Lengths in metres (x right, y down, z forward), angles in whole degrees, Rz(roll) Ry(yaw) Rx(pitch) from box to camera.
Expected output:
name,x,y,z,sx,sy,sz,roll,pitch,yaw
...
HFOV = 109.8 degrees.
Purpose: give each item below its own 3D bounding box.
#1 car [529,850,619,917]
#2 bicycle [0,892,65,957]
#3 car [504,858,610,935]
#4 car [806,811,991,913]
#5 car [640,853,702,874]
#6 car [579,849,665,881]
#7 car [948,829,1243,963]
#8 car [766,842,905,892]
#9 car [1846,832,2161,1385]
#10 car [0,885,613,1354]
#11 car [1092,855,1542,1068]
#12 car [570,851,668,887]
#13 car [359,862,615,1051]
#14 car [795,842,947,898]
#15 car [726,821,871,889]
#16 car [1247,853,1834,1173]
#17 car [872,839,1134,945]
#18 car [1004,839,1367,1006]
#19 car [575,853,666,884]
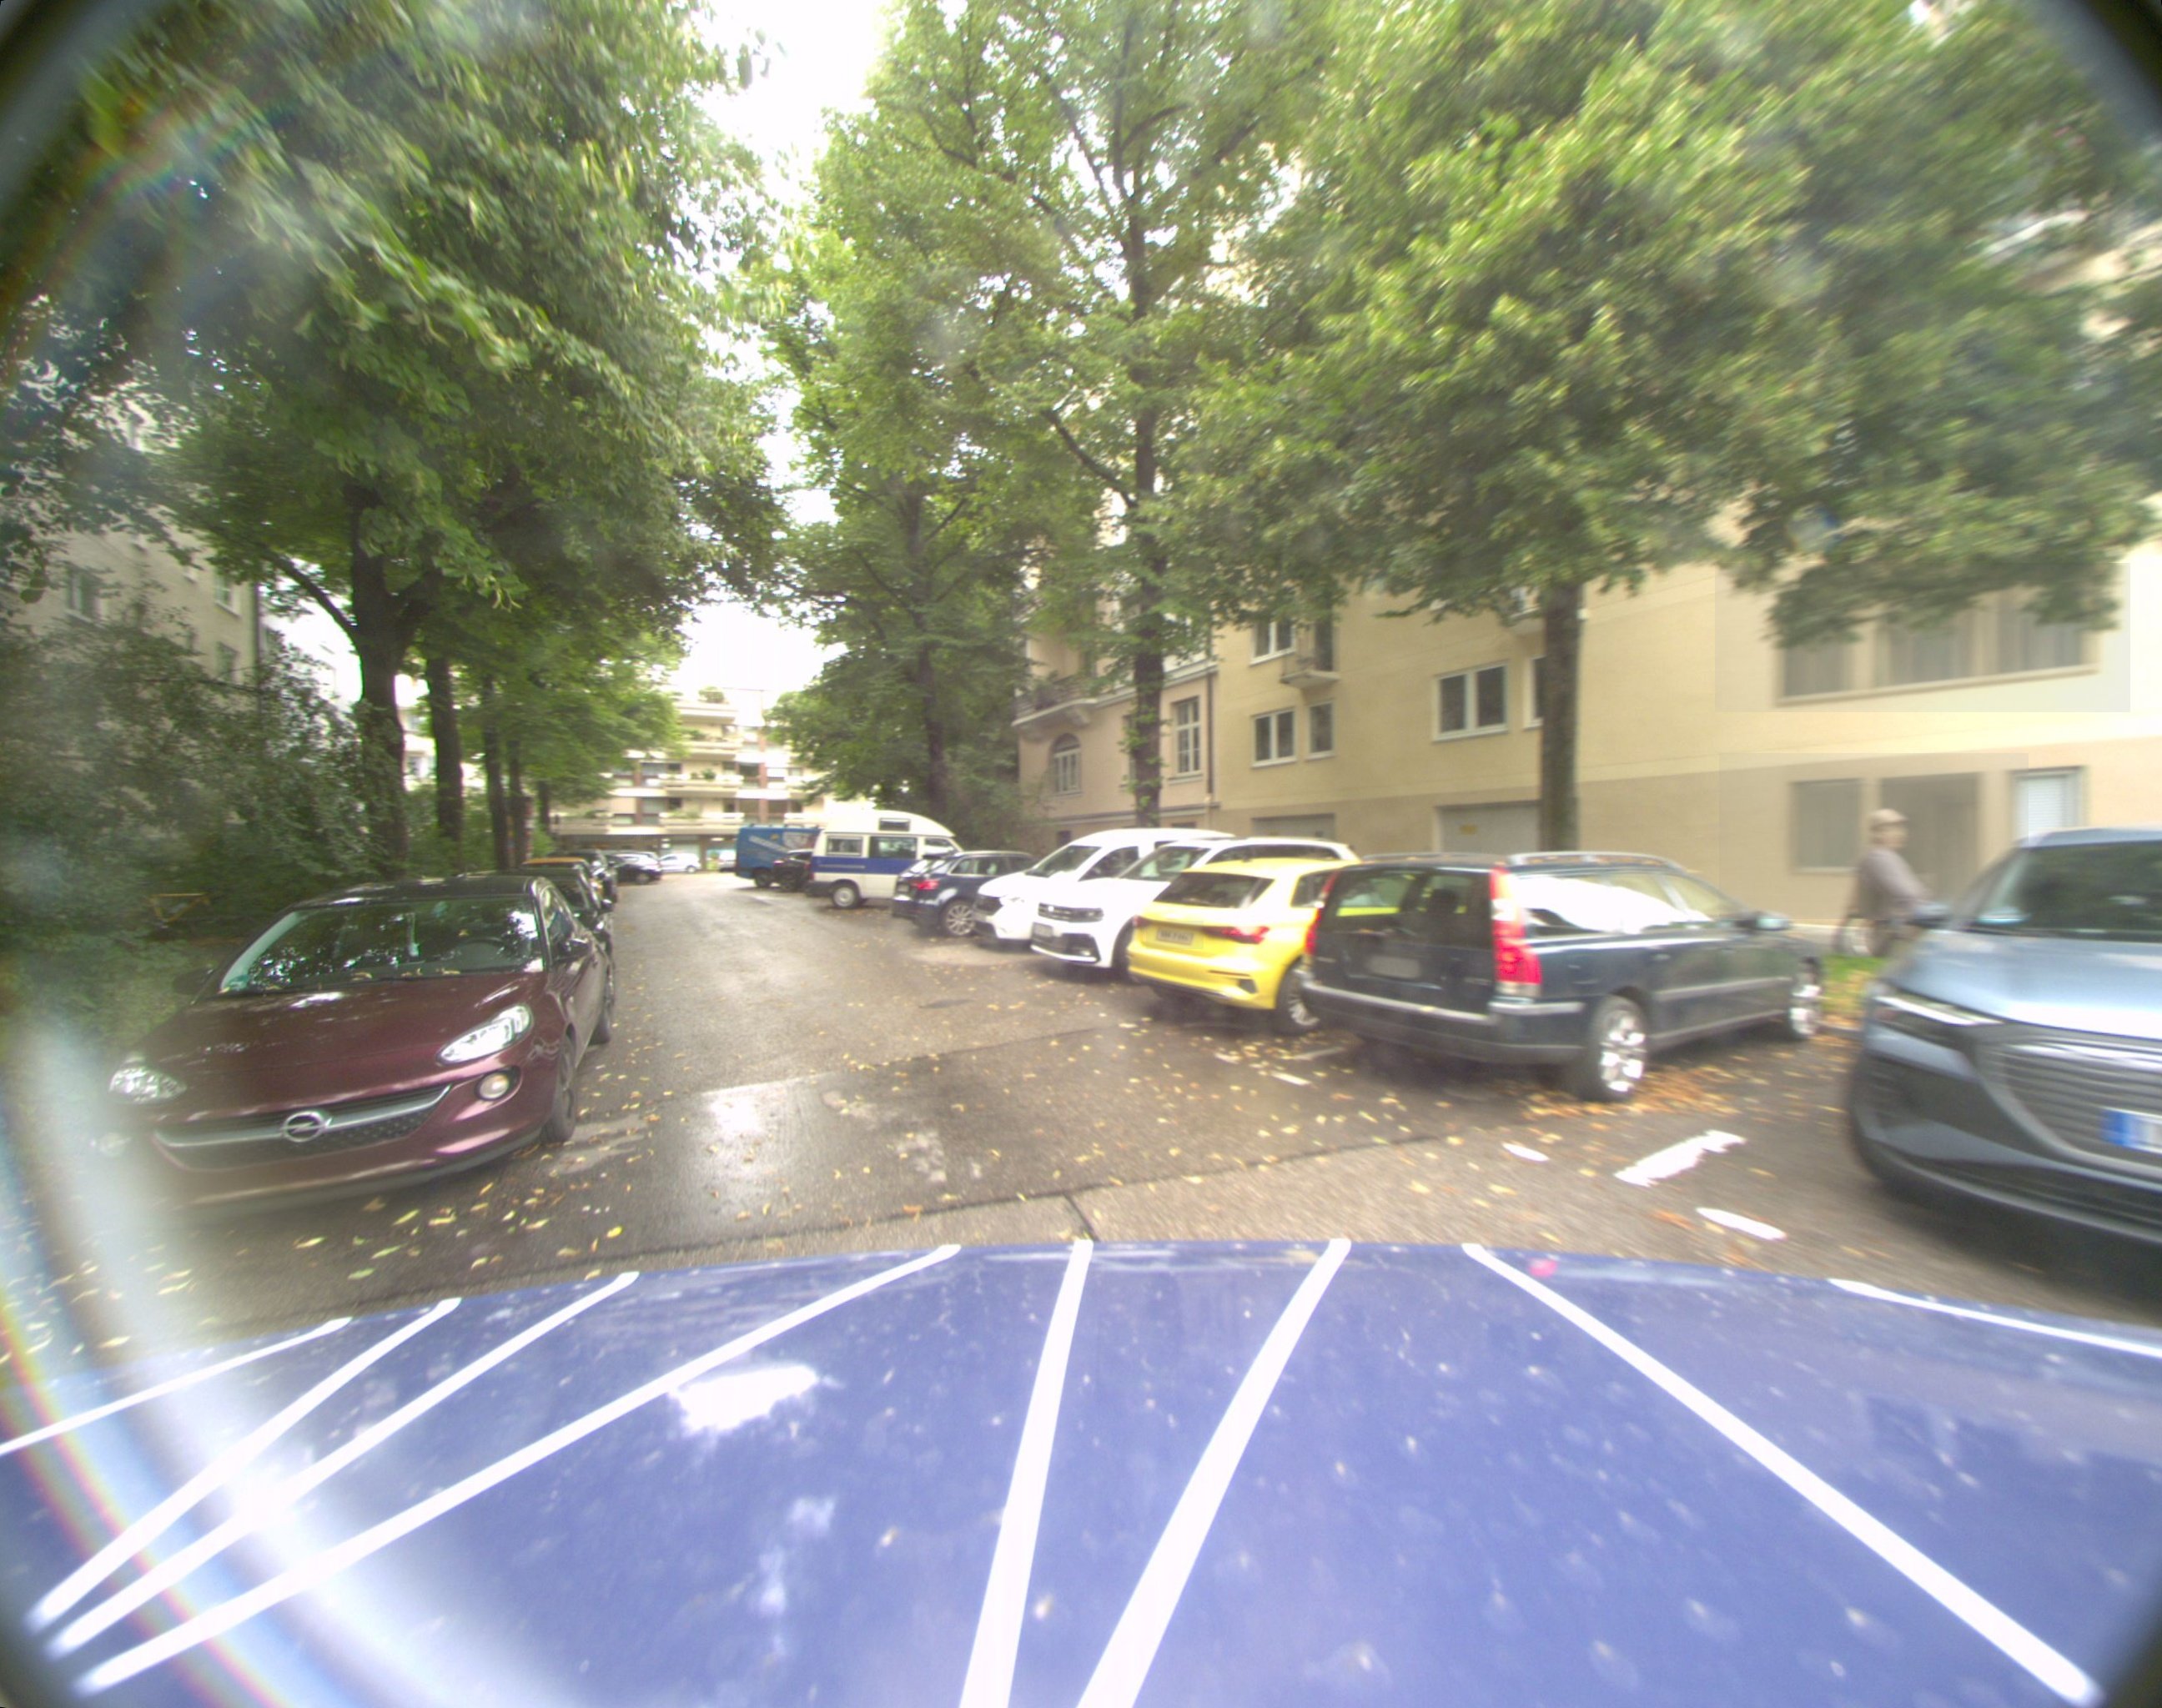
name,x,y,z,sx,sy,sz,roll,pitch,yaw
car,-13.716,0.723,20.752,1.700,1.589,4.098,-2,1,-30
bicycle,-16.194,1.059,10.940,1.762,0.908,0.532,-2,1,-39
car,-11.449,0.833,16.706,1.700,1.430,3.767,-2,1,-34
car,-4.366,0.164,18.755,4.180,2.300,1.902,-1,1,-7
car,-28.541,0.658,52.963,3.696,1.348,1.851,-2,1,-29
car,-23.617,0.543,39.140,3.697,1.470,1.850,-2,1,-33
car,0.291,0.523,11.978,4.252,1.741,1.913,-2,1,-31
car,-8.431,0.435,26.266,4.104,1.594,1.905,-1,1,7
car,5.022,0.696,3.075,4.252,1.556,1.821,-2,1,-32
car,-4.121,1.046,4.720,1.736,1.488,3.700,-2,1,-27
car,2.428,0.792,7.497,4.252,1.459,1.913,-2,1,-32
car,-21.082,0.646,34.691,3.697,1.470,1.850,-2,1,-33
car,-6.290,0.884,8.513,1.736,1.488,4.036,-2,1,-31
car,-6.456,0.471,23.632,4.104,1.594,1.905,-1,1,7
car,-10.655,0.021,28.873,4.686,2.398,1.979,-1,1,4
car,3.537,0.773,5.677,4.252,1.459,2.049,-2,1,-32
car,-1.353,0.572,13.684,4.252,1.590,1.913,-2,1,-31
car,1.395,0.664,9.528,4.252,1.611,1.913,-2,1,-32
car,-22.542,0.686,37.250,3.697,1.385,1.850,-2,1,-33
